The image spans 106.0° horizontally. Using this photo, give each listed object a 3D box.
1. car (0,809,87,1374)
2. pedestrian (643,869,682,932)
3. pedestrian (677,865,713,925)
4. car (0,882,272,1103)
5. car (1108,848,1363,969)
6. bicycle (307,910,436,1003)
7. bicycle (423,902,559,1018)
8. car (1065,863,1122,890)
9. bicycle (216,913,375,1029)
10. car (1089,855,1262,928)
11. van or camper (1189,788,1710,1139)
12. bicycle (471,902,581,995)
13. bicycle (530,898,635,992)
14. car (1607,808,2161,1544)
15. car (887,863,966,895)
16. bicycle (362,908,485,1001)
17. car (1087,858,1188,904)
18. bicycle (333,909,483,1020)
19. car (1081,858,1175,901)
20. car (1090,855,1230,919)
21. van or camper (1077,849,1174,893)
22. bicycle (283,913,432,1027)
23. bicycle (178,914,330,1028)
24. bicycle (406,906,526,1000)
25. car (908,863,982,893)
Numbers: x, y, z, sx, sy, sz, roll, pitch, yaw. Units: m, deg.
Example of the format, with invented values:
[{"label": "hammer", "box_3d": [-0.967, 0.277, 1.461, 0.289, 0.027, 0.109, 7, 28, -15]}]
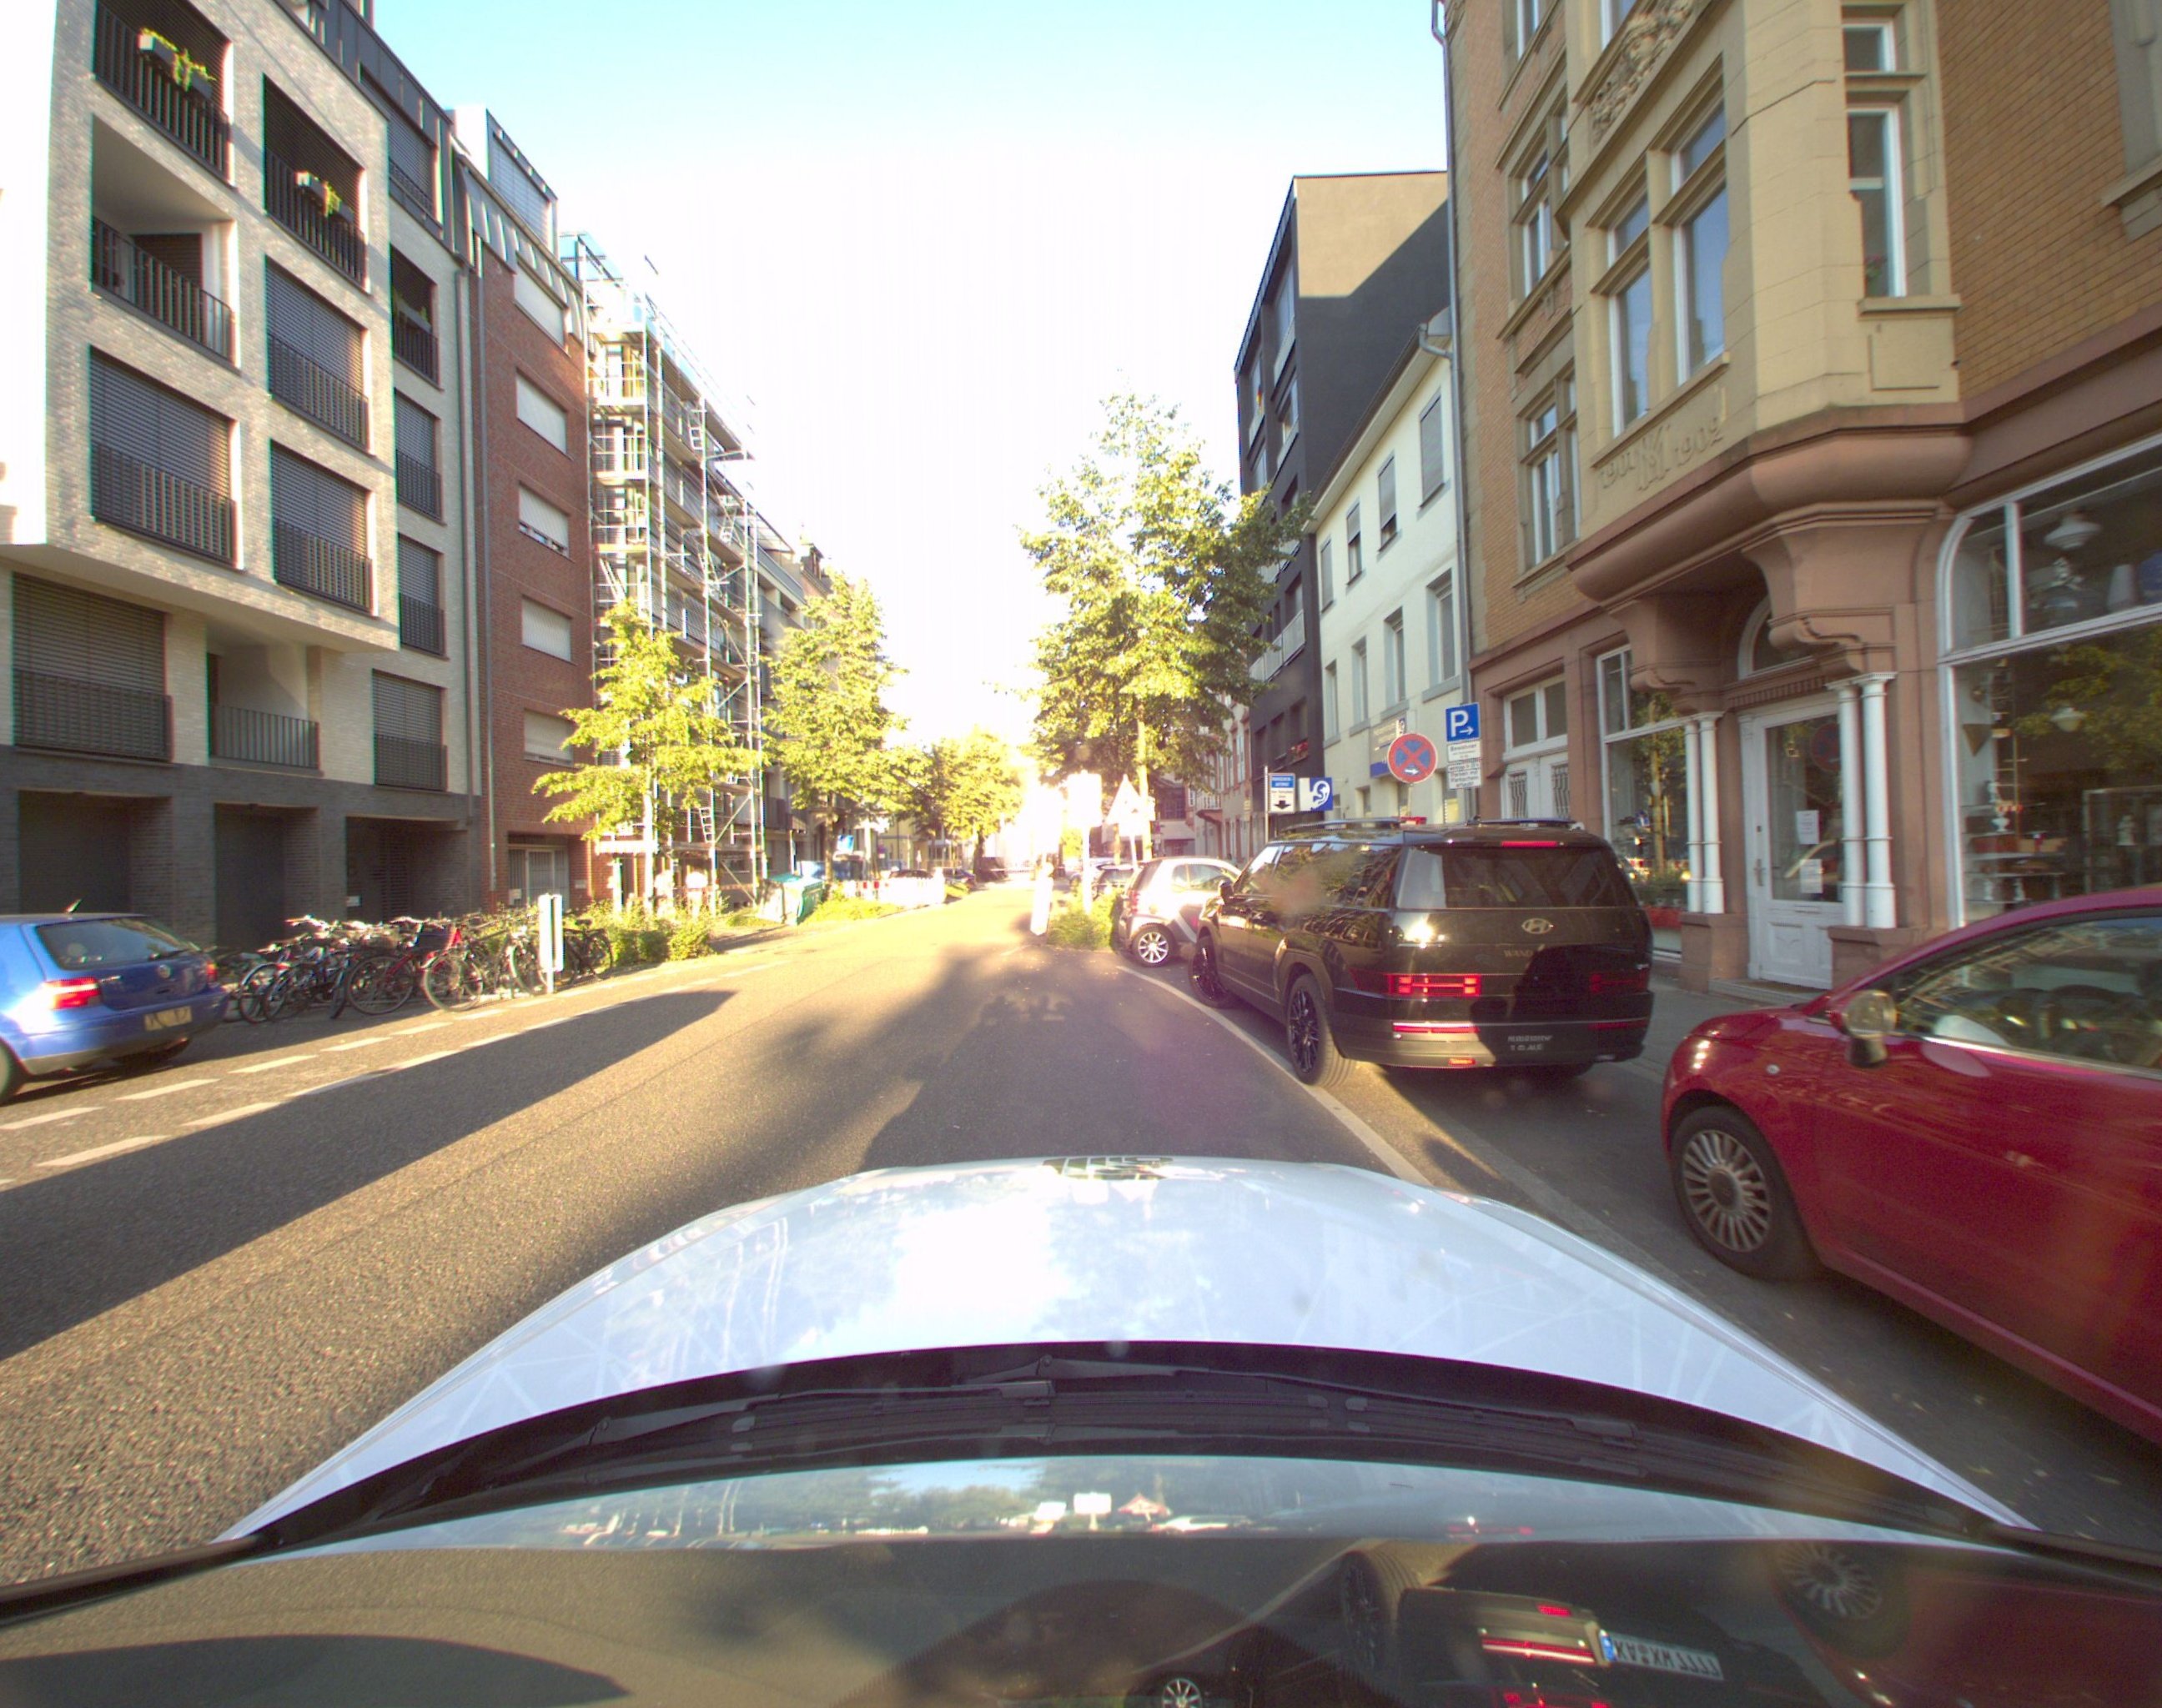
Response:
[{"label": "car", "box_3d": [-4.327, 0.761, 0.528, 1.865, 1.697, 4.325, -4, -1, 3]}, {"label": "pedestrian", "box_3d": [-12.231, 1.337, 23.816, 0.738, 1.783, 0.656, -2, -1, 1]}, {"label": "pedestrian", "box_3d": [-11.853, 1.236, 25.043, 0.739, 1.783, 0.656, -2, -1, -1]}, {"label": "car", "box_3d": [-9.540, 1.134, 6.434, 4.112, 1.563, 1.685, -3, -1, -15]}, {"label": "car", "box_3d": [2.253, 0.758, 12.297, 3.468, 1.576, 1.503, -2, -1, -8]}, {"label": "bicycle", "box_3d": [-10.120, 1.423, 11.682, 0.455, 1.132, 1.552, -2, -1, 1]}, {"label": "bicycle", "box_3d": [-7.178, 1.247, 10.000, 0.495, 1.220, 1.552, -2, -1, 1]}, {"label": "car", "box_3d": [0.809, 1.356, 50.707, 1.834, 1.568, 3.720, -1, -1, 34]}, {"label": "bicycle", "box_3d": [-9.504, 1.369, 9.929, 0.385, 1.189, 1.552, -2, -1, 1]}, {"label": "car", "box_3d": [2.222, 0.882, 19.953, 3.984, 1.670, 1.857, 0, -1, -2]}, {"label": "van or camper", "box_3d": [2.286, 0.580, 6.564, 1.886, 1.807, 4.453, -1, 0, -5]}, {"label": "bicycle", "box_3d": [-7.962, 1.320, 11.761, 0.485, 1.163, 1.552, -2, -1, 1]}, {"label": "bicycle", "box_3d": [-7.158, 1.268, 11.773, 0.505, 1.179, 1.552, -2, -1, 1]}, {"label": "car", "box_3d": [3.062, 0.678, 1.916, 1.520, 1.570, 3.423, -1, 0, 2]}, {"label": "car", "box_3d": [-8.602, 1.377, 45.630, 3.971, 1.684, 1.892, -2, -1, 2]}, {"label": "bicycle", "box_3d": [-9.420, 1.408, 11.735, 0.465, 1.144, 1.552, -2, -1, 1]}, {"label": "car", "box_3d": [2.094, 0.987, 30.829, 3.675, 1.670, 1.857, 0, -1, -2]}, {"label": "bicycle", "box_3d": [-8.179, 1.304, 9.983, 0.415, 1.157, 1.555, -2, -1, 6]}, {"label": "car", "box_3d": [1.871, 1.019, 33.119, 3.675, 1.670, 1.857, 0, -1, -2]}, {"label": "car", "box_3d": [2.119, 0.874, 22.551, 3.675, 1.670, 1.857, 0, -1, -2]}, {"label": "van or camper", "box_3d": [2.038, 0.793, 38.229, 4.428, 2.005, 1.857, 0, -1, -2]}, {"label": "bicycle", "box_3d": [-8.743, 1.360, 9.917, 0.379, 1.160, 1.552, -2, -1, 1]}, {"label": "bicycle", "box_3d": [-10.043, 1.381, 9.952, 0.385, 1.183, 1.405, -2, -1, 1]}, {"label": "bicycle", "box_3d": [-8.727, 1.370, 11.623, 0.485, 1.149, 1.552, -2, -1, 1]}, {"label": "car", "box_3d": [-8.034, 1.404, 48.307, 3.971, 1.684, 1.892, -2, -1, 2]}]
